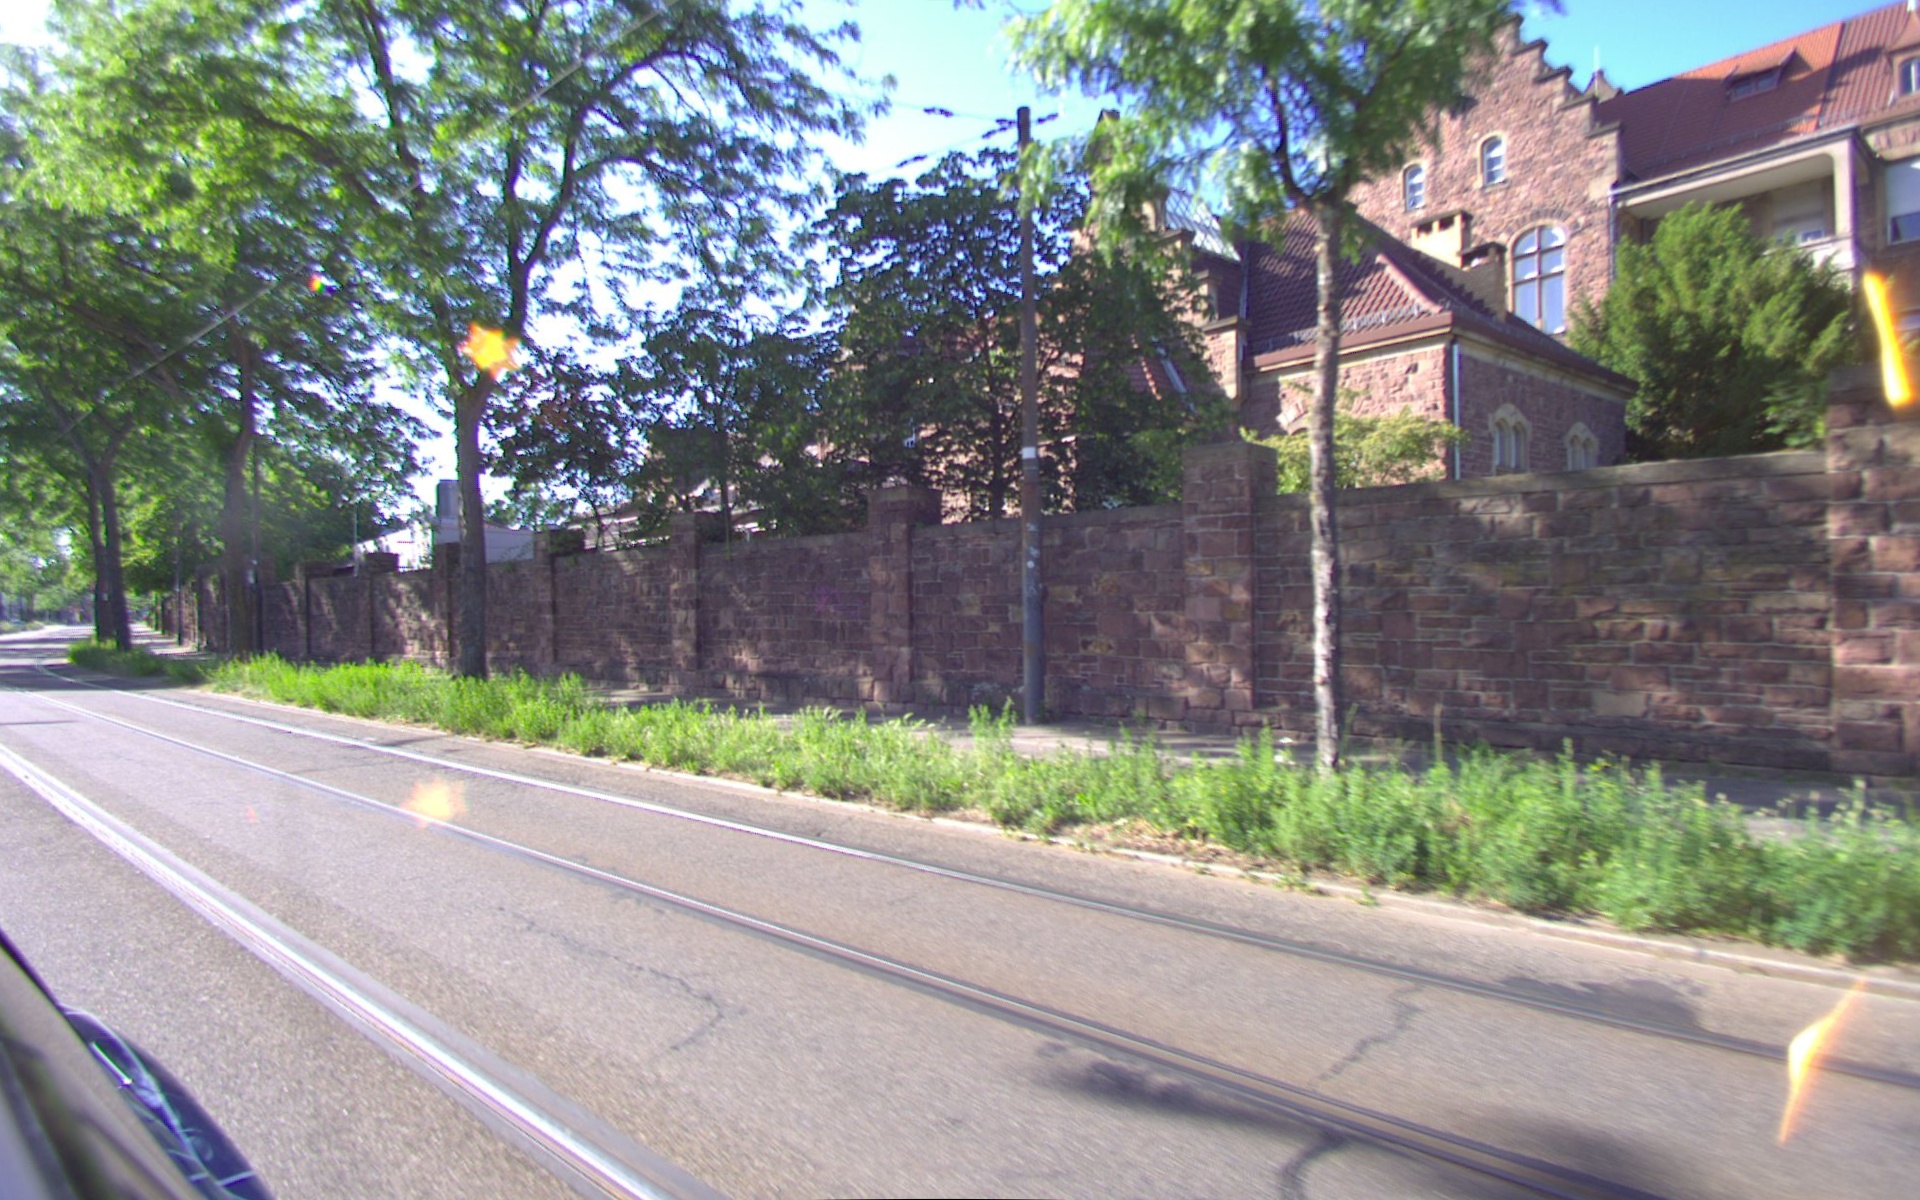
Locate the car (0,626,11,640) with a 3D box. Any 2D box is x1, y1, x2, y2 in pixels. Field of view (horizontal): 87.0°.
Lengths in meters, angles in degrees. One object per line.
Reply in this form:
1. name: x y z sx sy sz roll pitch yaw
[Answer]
1. car: -116.082 3.964 122.107 1.968 1.429 4.008 -1 2 -39
